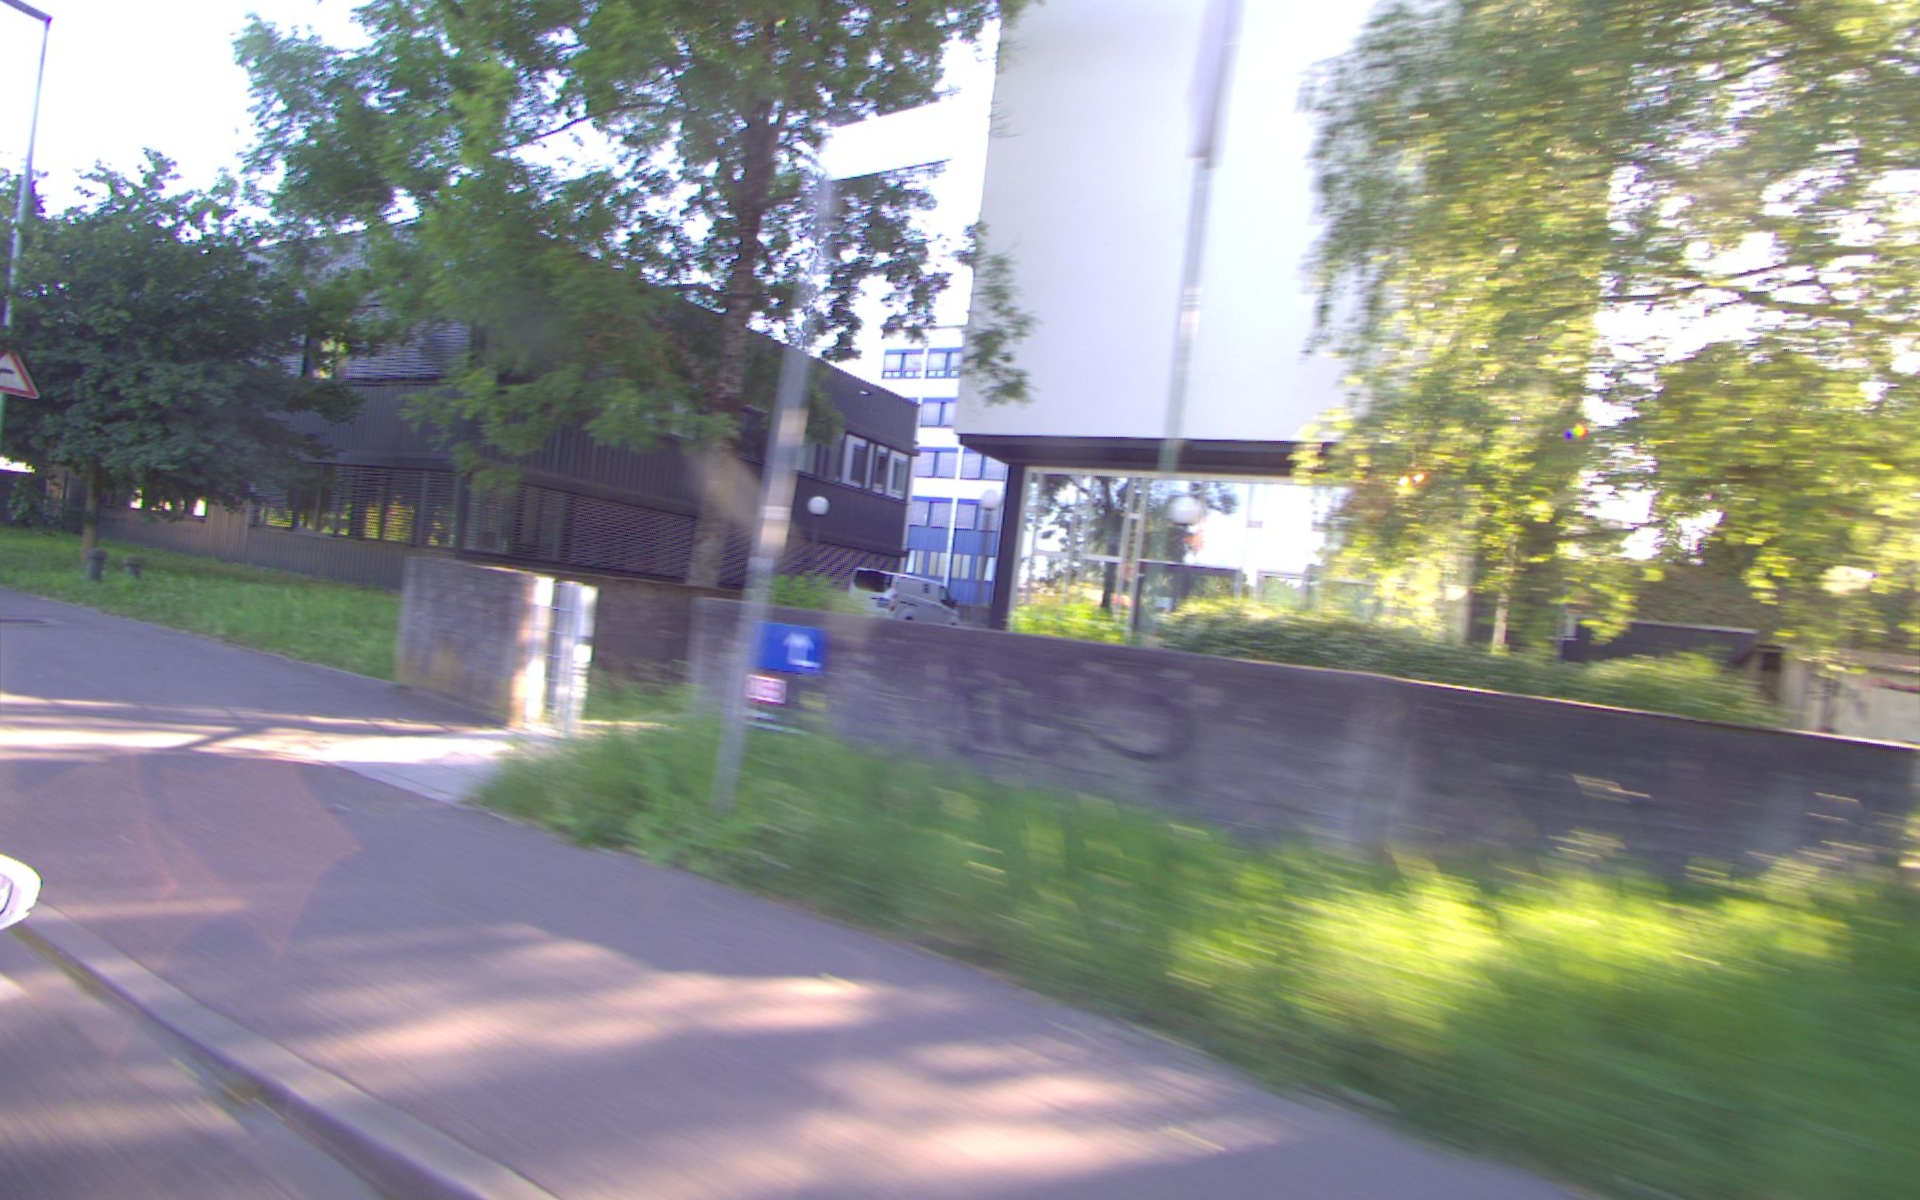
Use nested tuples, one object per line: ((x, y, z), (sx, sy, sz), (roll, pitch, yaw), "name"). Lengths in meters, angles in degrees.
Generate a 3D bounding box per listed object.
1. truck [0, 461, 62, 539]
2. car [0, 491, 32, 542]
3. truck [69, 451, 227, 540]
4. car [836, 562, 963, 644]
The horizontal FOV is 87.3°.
((-41.415, -4.434, 42.748), (6.631, 2.870, 2.366), (6, -2, 27), "truck")
((-31.985, -2.846, 32.340), (4.206, 1.483, 1.840), (5, -3, 29), "car")
((-29.907, -3.857, 36.987), (6.295, 2.708, 2.286), (5, -2, 31), "truck")
((-1.818, 0.144, 31.787), (1.966, 2.036, 3.996), (5, -3, 30), "car")
